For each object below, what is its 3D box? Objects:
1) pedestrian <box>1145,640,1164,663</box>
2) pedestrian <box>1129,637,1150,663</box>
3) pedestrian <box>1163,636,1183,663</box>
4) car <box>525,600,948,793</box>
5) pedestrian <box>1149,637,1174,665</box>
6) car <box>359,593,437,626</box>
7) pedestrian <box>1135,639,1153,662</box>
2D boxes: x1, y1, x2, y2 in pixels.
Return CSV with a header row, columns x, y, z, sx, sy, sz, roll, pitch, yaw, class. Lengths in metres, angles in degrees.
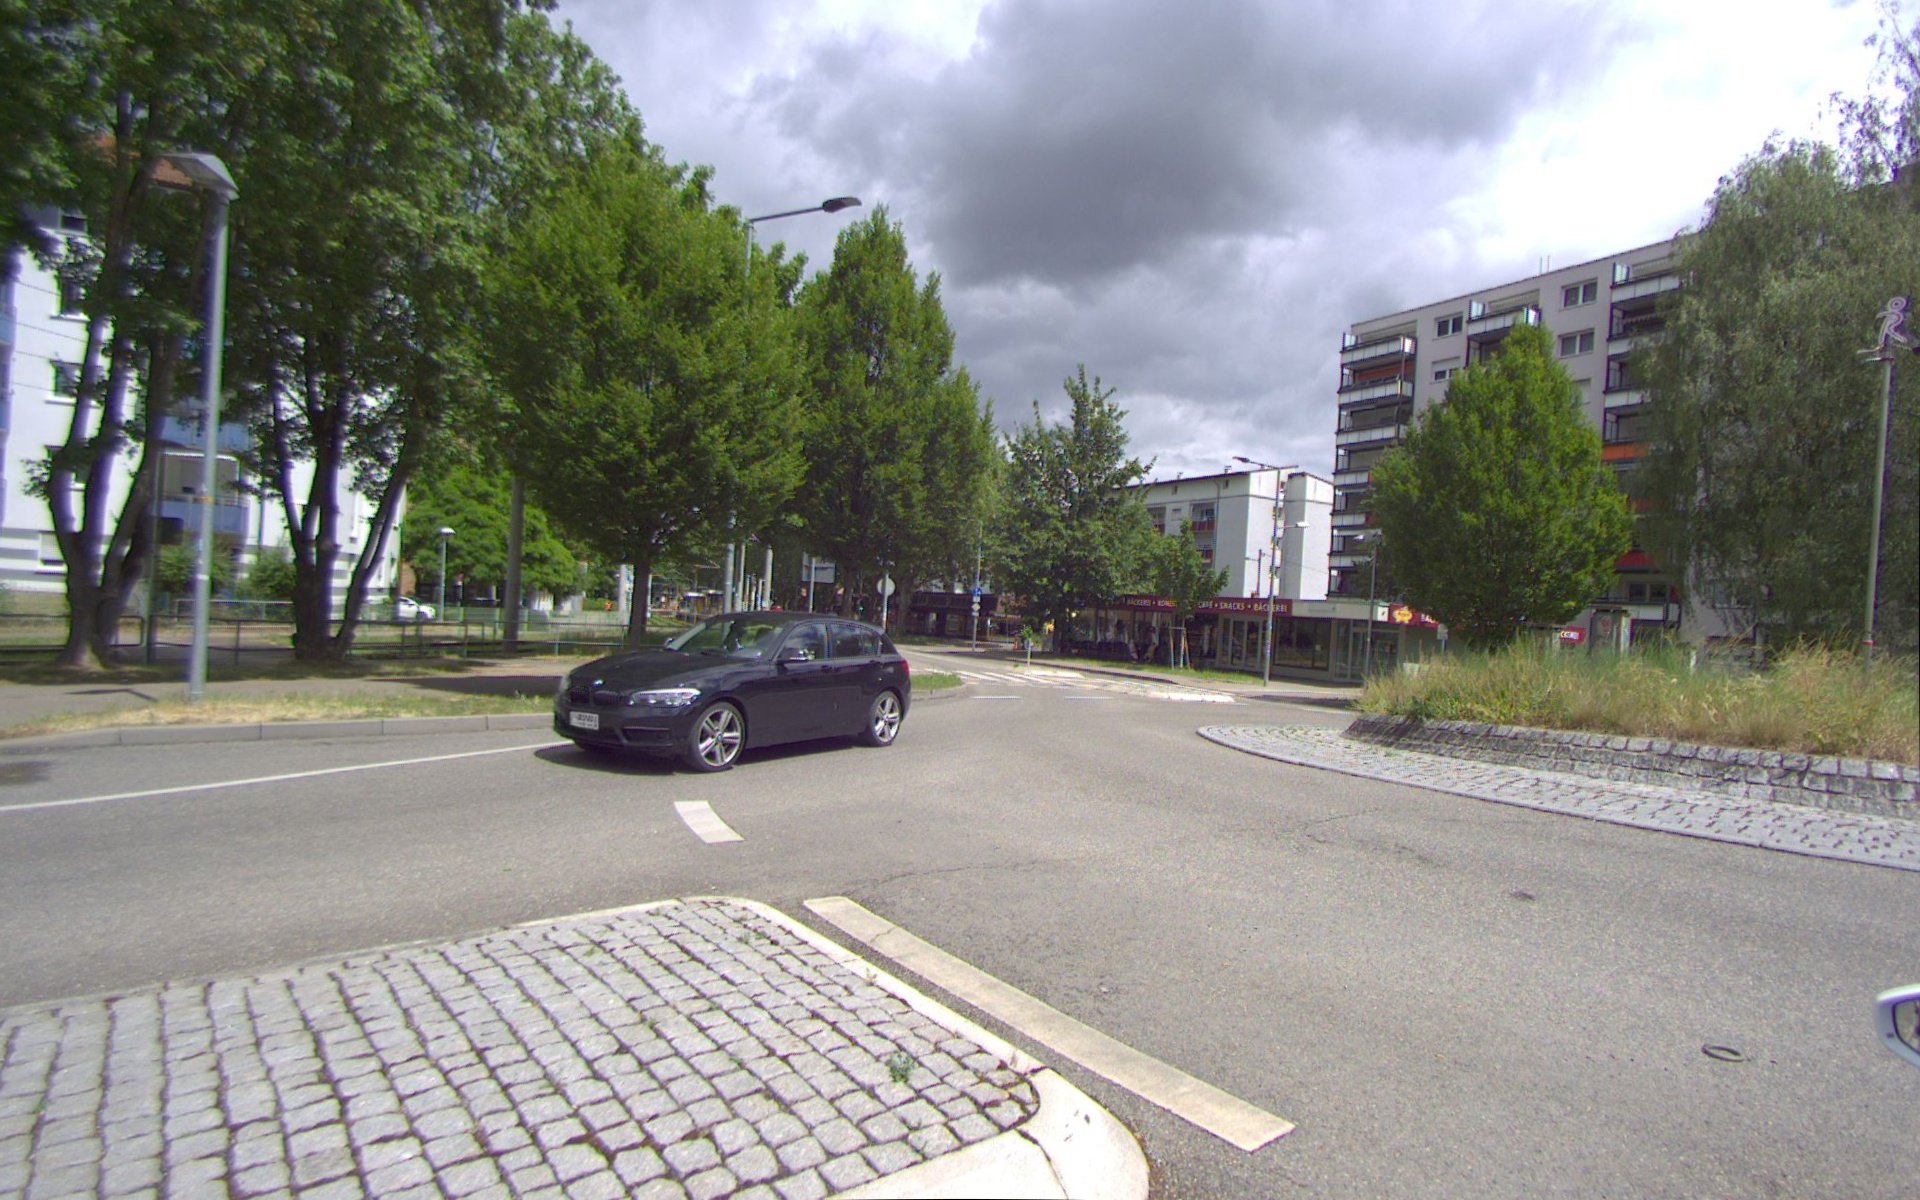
x,y,z,sx,sy,sz,roll,pitch,yaw,class
10.656,2.806,54.989,0.708,1.217,0.696,3,-1,-15,pedestrian
9.609,2.679,53.879,0.867,1.342,0.608,3,-1,-21,pedestrian
11.429,2.655,53.898,0.710,1.399,0.695,3,-1,-22,pedestrian
-2.069,0.852,10.633,1.826,1.474,4.380,4,1,30,car
10.711,2.708,53.434,0.870,1.342,0.816,3,2,-29,pedestrian
-34.813,0.614,62.309,3.944,1.832,1.989,3,-1,-24,car
10.053,2.764,54.916,0.708,1.217,0.696,3,-1,-15,pedestrian
